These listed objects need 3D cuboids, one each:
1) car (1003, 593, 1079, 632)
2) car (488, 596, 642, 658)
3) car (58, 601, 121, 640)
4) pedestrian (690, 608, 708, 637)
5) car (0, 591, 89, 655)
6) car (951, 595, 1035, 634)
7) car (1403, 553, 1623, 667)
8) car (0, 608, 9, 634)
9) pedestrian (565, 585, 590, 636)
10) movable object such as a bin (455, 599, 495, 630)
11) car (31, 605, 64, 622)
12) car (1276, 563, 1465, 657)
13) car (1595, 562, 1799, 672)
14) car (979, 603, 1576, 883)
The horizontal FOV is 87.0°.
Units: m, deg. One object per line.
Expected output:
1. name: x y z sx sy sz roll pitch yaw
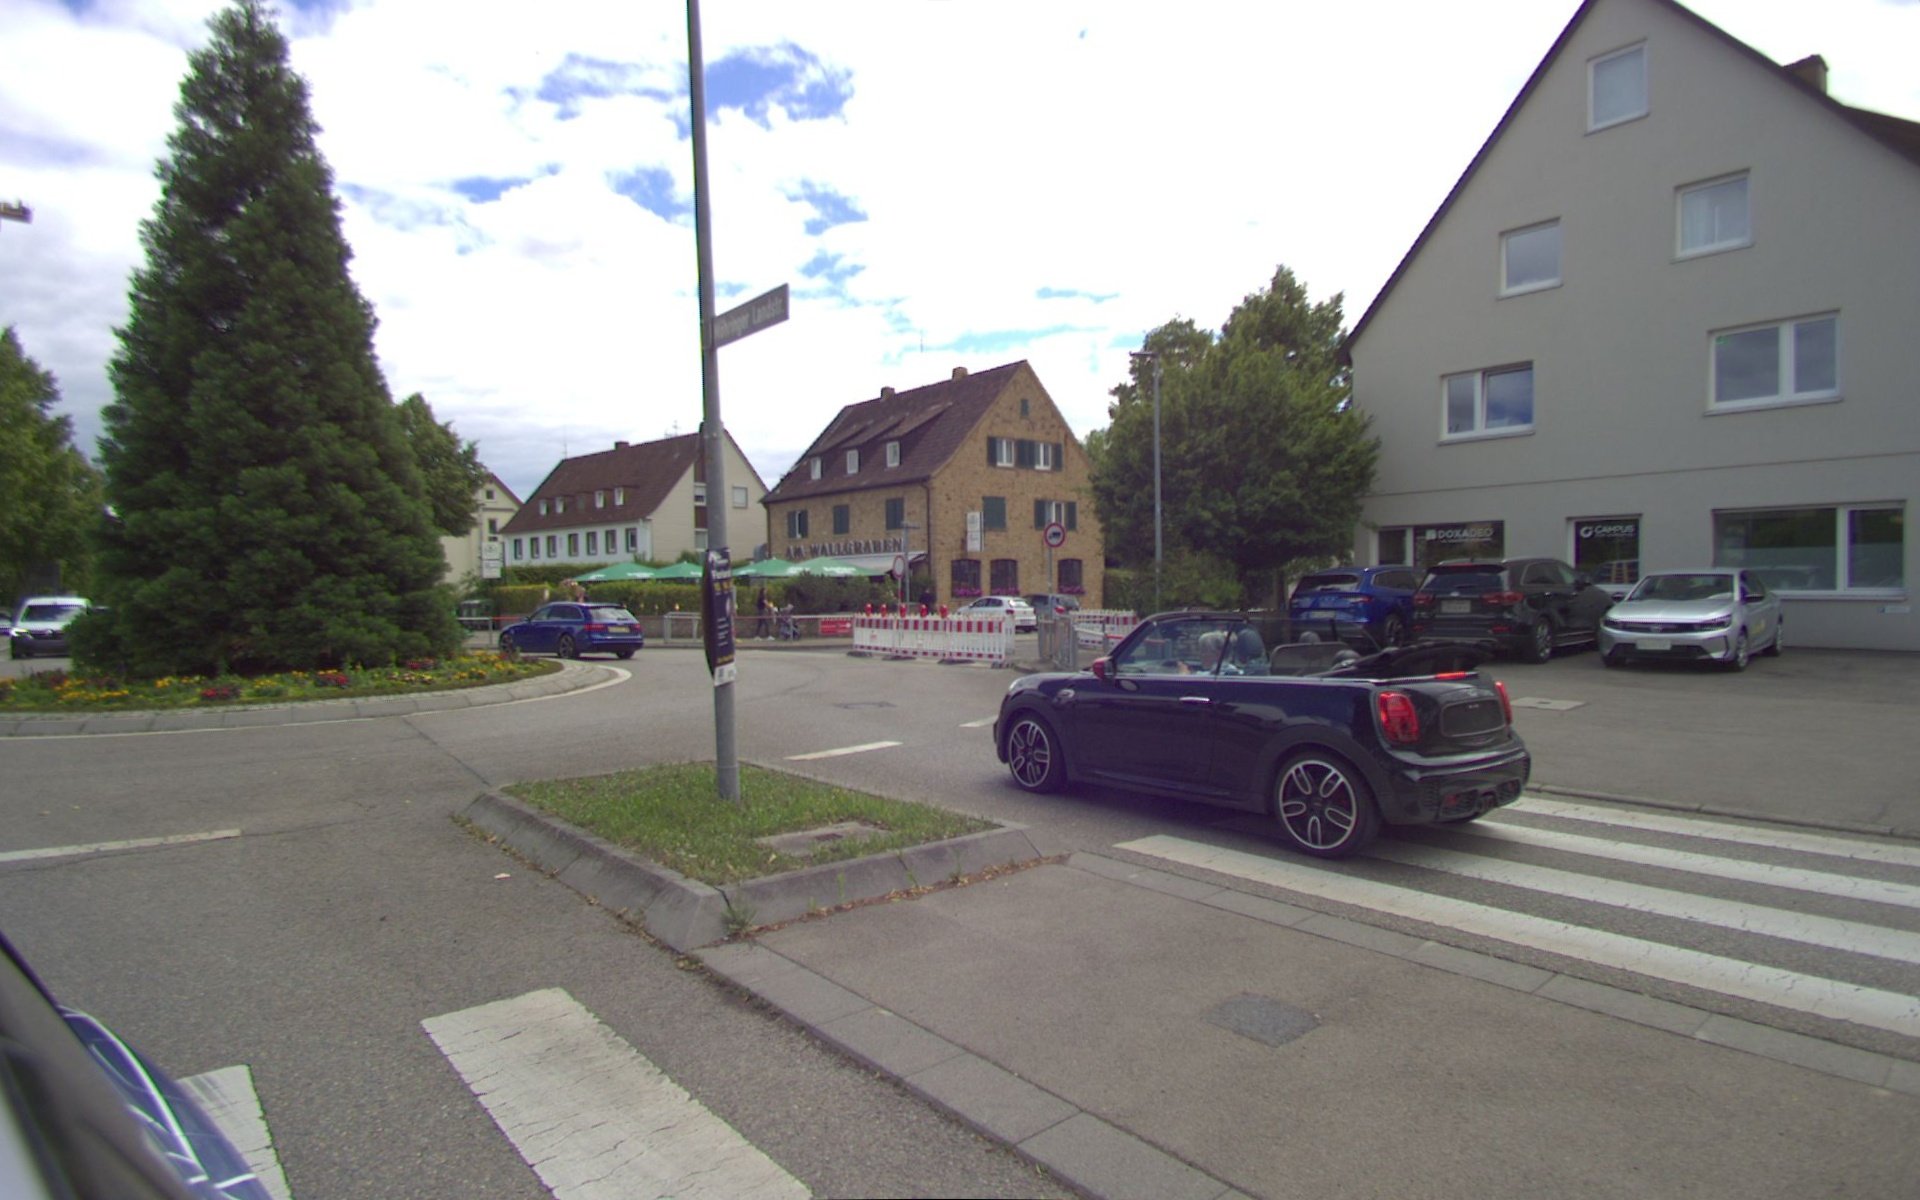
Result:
1. car: 3.400 0.492 42.985 1.375 1.512 3.236 -1 2 -38
2. car: -10.059 0.630 25.621 4.501 1.382 1.593 1 1 38
3. car: -36.802 0.830 42.856 1.751 1.566 4.009 -2 1 -37
4. pedestrian: -8.684 0.753 33.696 0.423 0.919 0.340 -2 2 11
5. car: -27.641 0.641 30.466 1.897 1.767 4.009 -2 1 -37
6. car: 1.336 0.571 41.864 1.445 1.430 3.681 -1 2 -38
7. car: 9.292 0.072 16.925 3.868 1.674 1.859 -3 3 -38
8. car: -55.463 1.205 57.714 1.756 1.465 4.174 0 -1 -44
9. pedestrian: -14.179 0.380 37.553 0.567 1.840 0.629 -1 1 42
10. movable object such as a bin: -23.291 0.681 48.593 0.969 1.427 2.726 -2 1 -42
11. car: -78.680 1.168 87.301 1.783 1.352 4.008 -1 0 -38
12. car: 7.837 0.106 19.172 3.871 1.547 1.821 -3 3 -42
13. car: 11.236 0.183 15.340 3.871 1.413 1.749 -3 2 -42
14. car: 1.902 0.727 7.034 1.552 1.372 3.751 -1 0 -37
